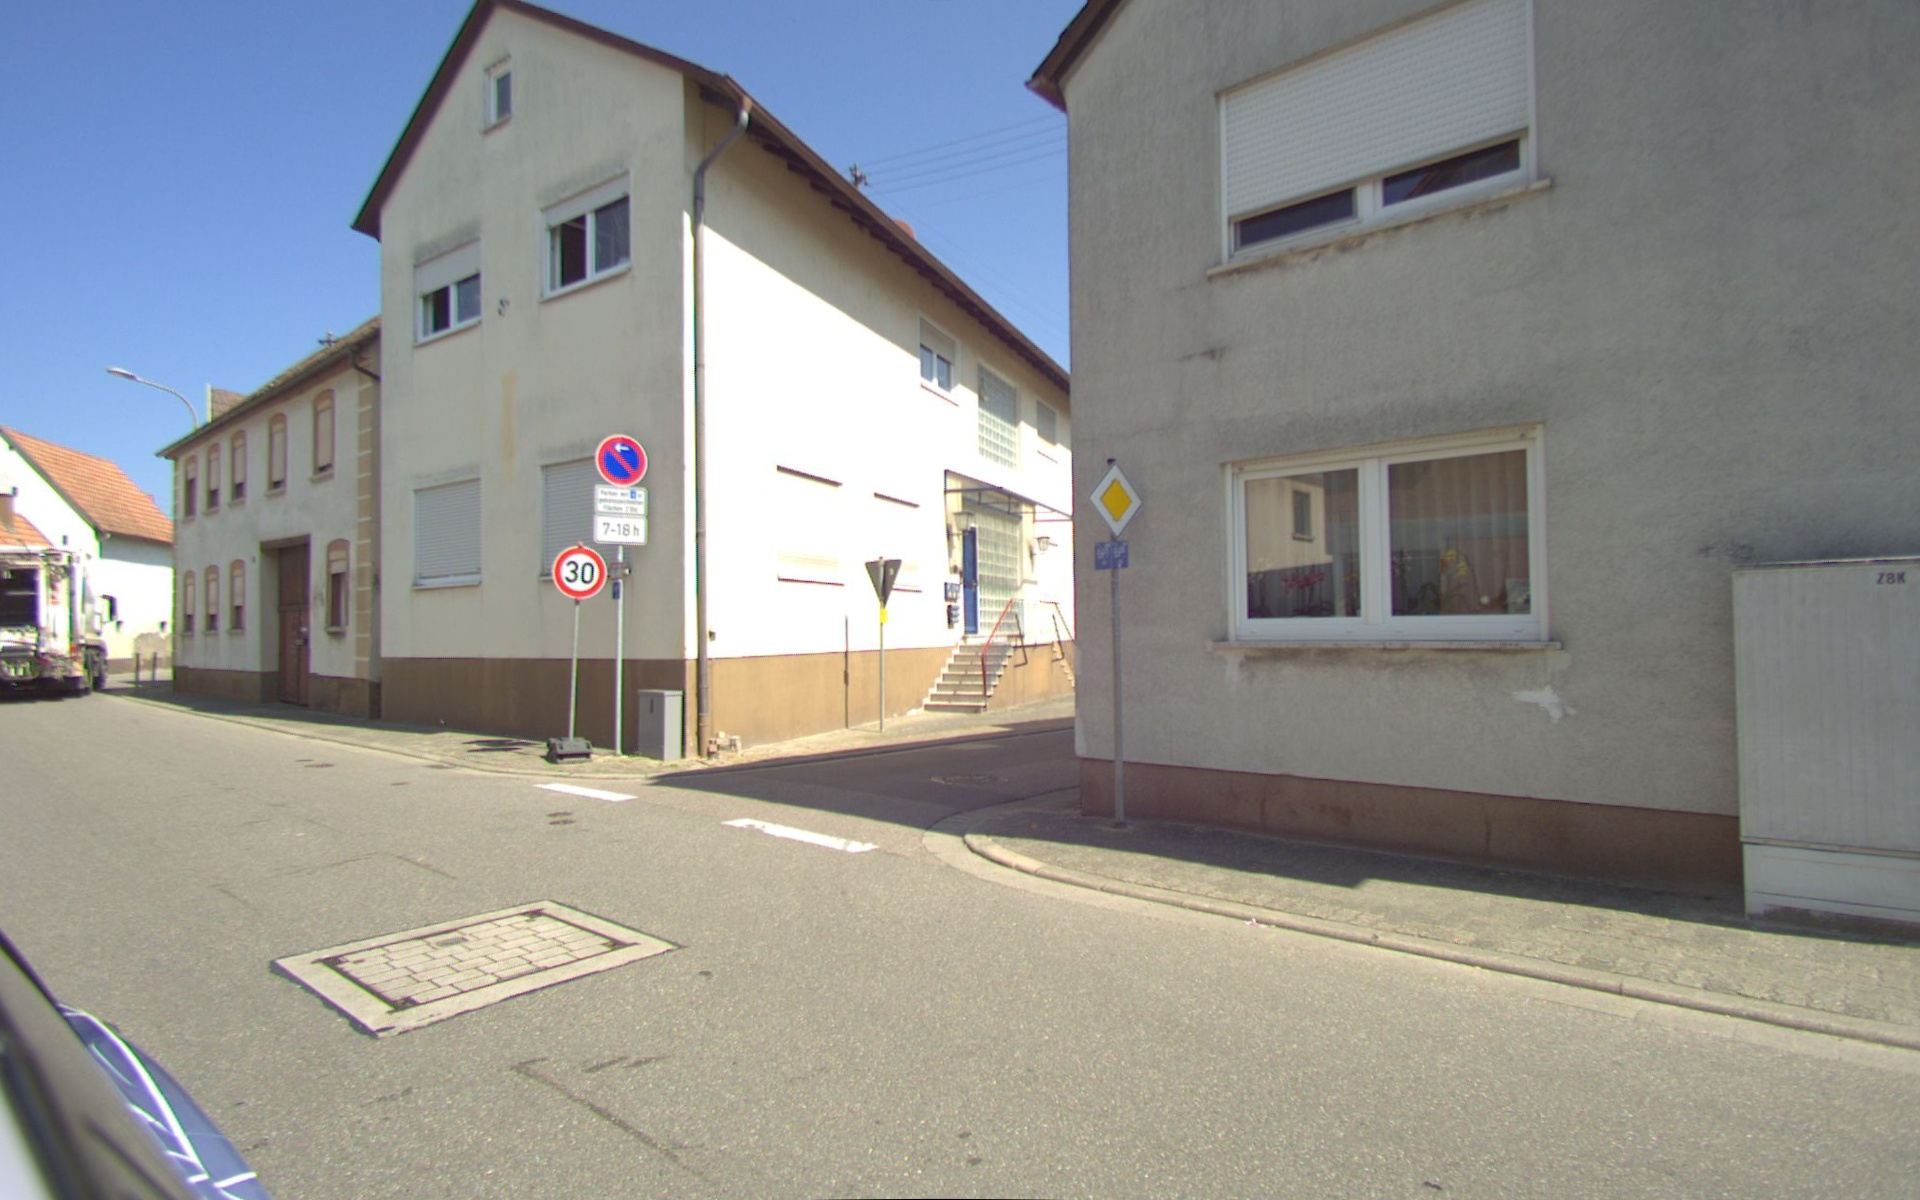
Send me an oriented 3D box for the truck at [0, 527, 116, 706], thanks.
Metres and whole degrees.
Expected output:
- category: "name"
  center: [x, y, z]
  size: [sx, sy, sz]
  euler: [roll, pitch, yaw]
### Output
- category: "truck"
  center: [-23.599, 0.546, 25.628]
  size: [2.660, 3.779, 10.893]
  euler: [2, -3, -36]
